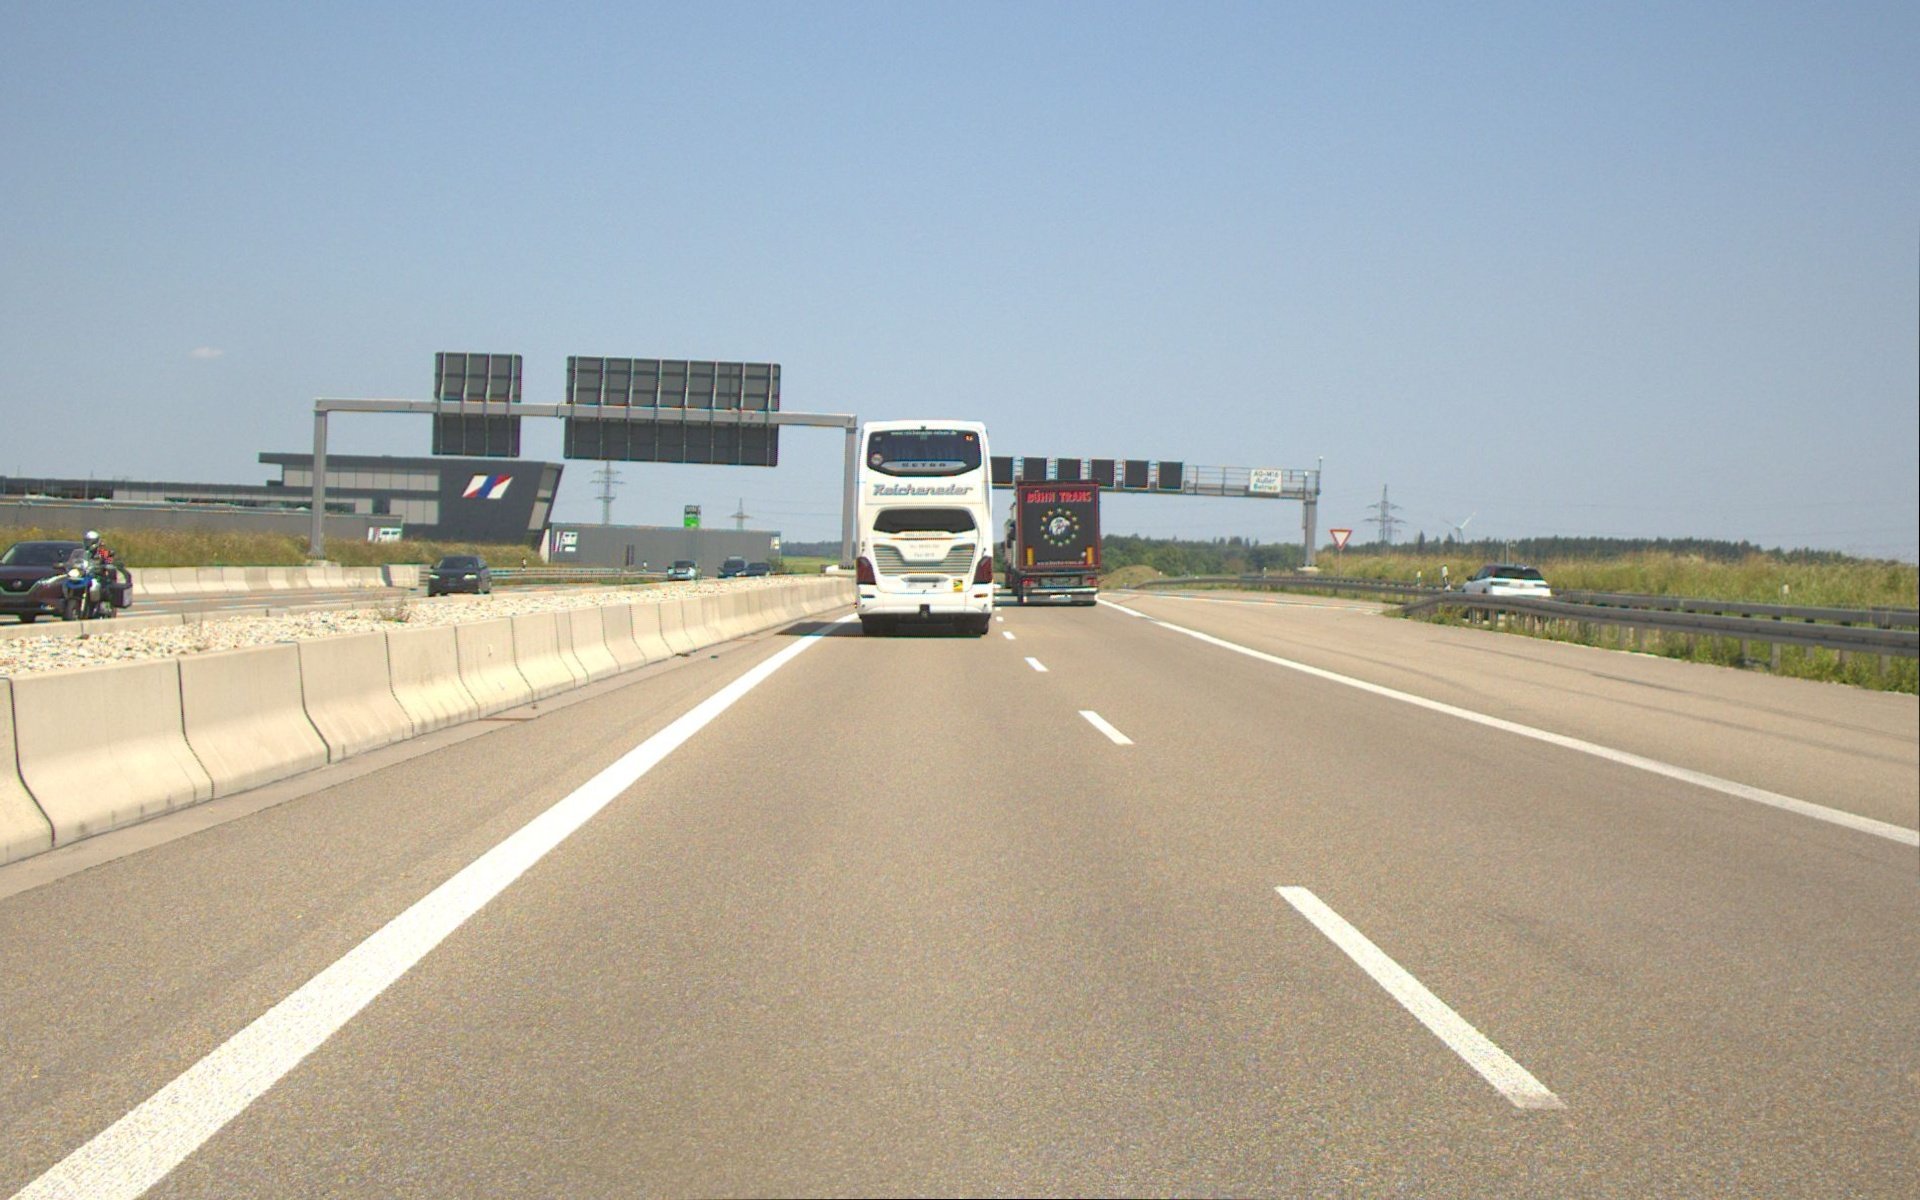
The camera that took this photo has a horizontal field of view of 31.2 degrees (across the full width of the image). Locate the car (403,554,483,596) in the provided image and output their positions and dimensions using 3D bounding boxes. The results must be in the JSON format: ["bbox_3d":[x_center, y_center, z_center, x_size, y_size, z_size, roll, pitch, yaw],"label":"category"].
[{"bbox_3d":[-17.555,-0.876,116.895,1.993,1.374,4.364,1,1,1],"label":"car"}]

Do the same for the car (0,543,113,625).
[{"bbox_3d":[-17.724,-0.339,65.920,1.868,1.486,5.139,1,1,-2],"label":"car"}]

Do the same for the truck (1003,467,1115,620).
[{"bbox_3d":[3.308,-1.720,113.472,3.380,4.449,13.565,1,-1,2],"label":"truck"}]

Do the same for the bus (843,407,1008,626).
[{"bbox_3d":[-0.714,-1.604,67.540,2.980,3.961,9.105,1,1,-1],"label":"bus"}]

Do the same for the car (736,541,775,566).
[{"bbox_3d":[-11.756,-2.681,197.909,1.844,1.377,4.752,1,1,2],"label":"car"}]

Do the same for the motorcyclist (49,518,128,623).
[{"bbox_3d":[-13.548,-0.464,53.474,0.920,1.616,1.088,1,1,1],"label":"motorcyclist"}]

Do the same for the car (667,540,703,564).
[{"bbox_3d":[-15.945,-2.803,199.530,1.891,1.324,3.986,1,1,-1],"label":"car"}]

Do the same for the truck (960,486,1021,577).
[{"bbox_3d":[1.285,-2.935,147.958,2.437,3.776,6.494,1,1,0],"label":"truck"}]

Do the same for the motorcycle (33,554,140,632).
[{"bbox_3d":[-13.587,-0.127,53.566,0.958,1.165,2.723,1,1,0],"label":"motorcycle"}]

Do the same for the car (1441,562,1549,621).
[{"bbox_3d":[14.551,-0.260,93.759,1.890,1.524,4.263,1,1,-6],"label":"car"}]
